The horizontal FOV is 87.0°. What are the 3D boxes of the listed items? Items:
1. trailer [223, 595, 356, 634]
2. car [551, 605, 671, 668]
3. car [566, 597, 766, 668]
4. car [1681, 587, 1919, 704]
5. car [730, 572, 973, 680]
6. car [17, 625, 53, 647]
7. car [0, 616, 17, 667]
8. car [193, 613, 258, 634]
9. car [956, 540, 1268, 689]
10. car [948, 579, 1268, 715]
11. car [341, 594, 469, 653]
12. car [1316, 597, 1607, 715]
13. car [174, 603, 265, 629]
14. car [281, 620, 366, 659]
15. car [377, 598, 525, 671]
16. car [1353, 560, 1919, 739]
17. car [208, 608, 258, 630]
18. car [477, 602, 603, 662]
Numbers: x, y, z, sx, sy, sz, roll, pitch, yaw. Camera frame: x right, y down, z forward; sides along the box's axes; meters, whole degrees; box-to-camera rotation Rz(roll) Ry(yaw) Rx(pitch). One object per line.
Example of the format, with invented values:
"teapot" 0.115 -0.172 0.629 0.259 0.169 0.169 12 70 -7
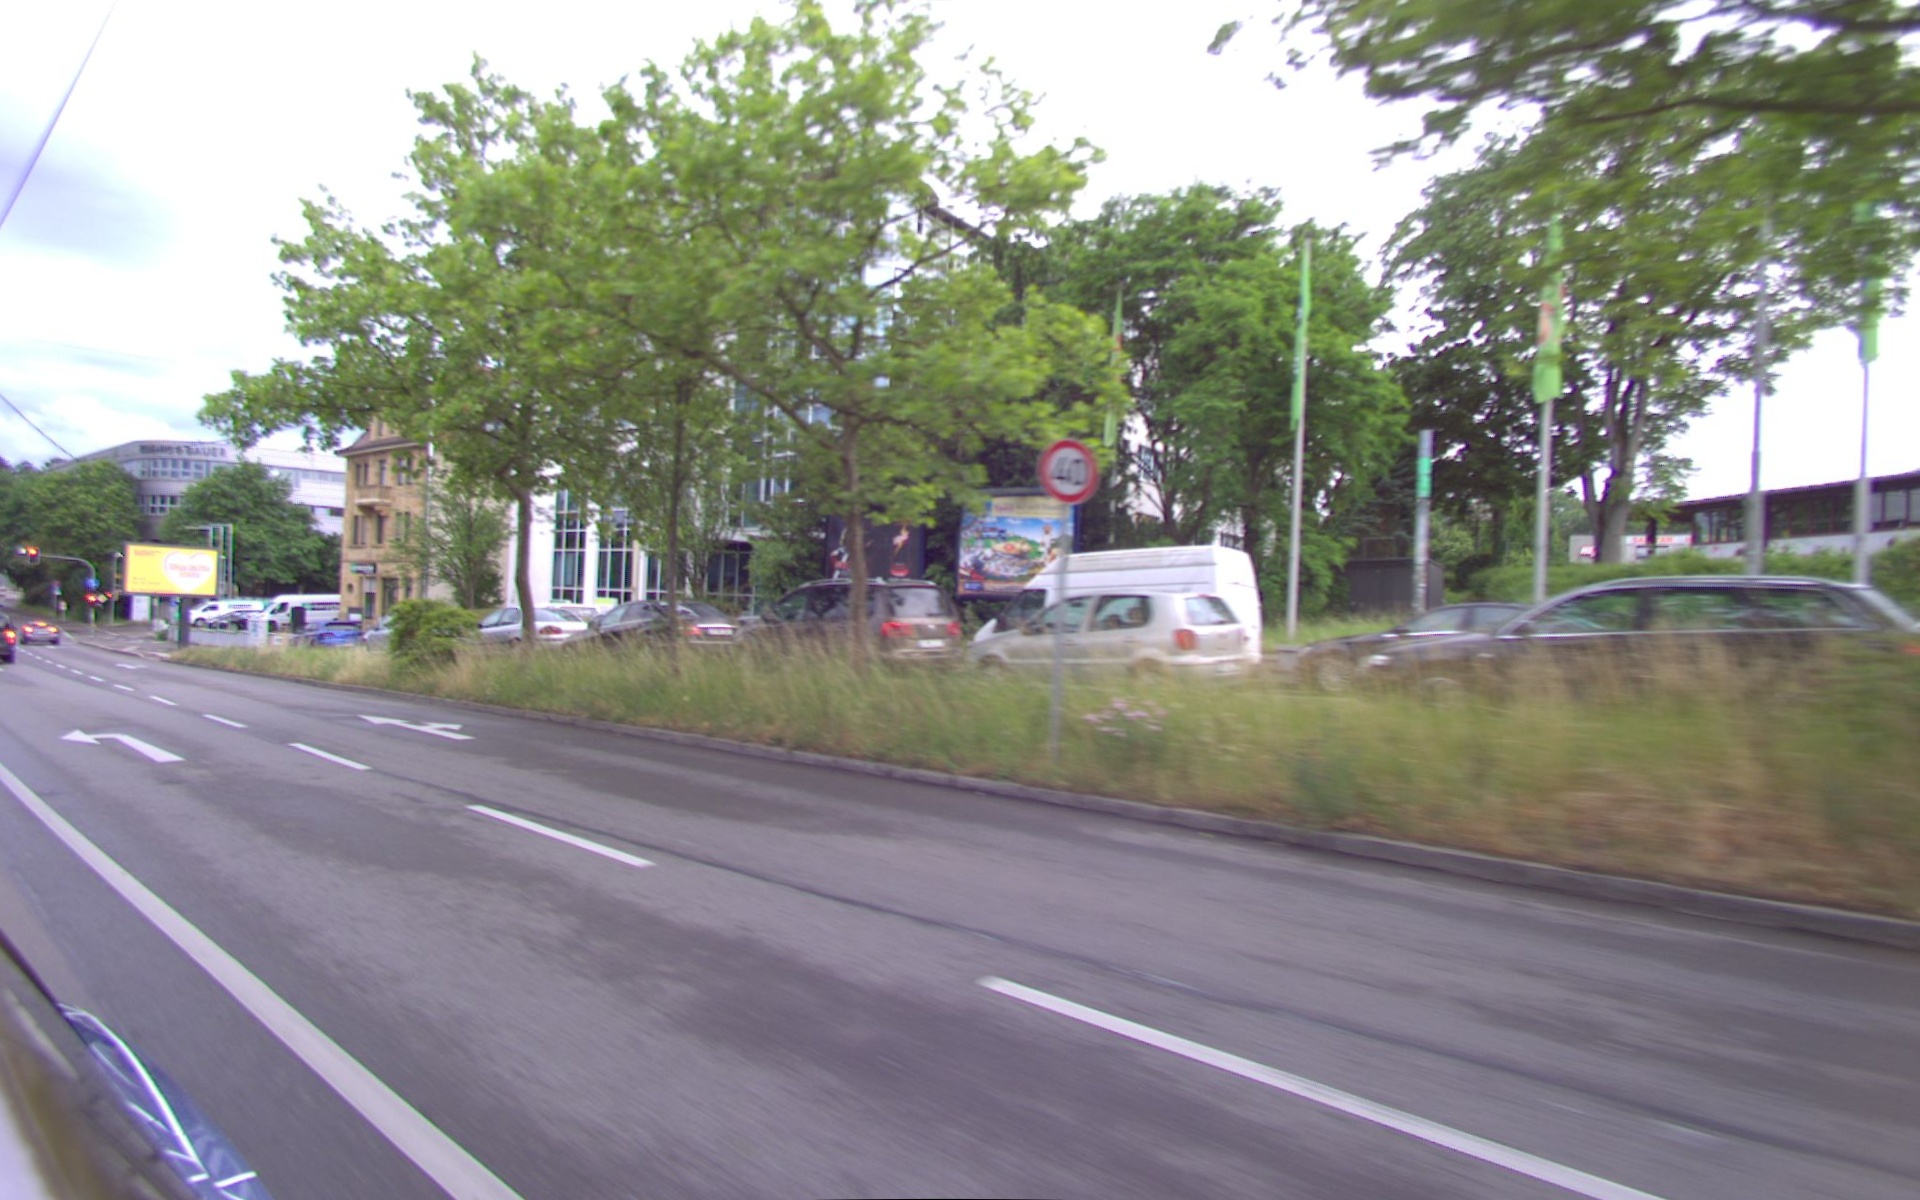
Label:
"trailer" -45.046 1.015 68.164 2.394 2.446 7.023 1 -1 41
"car" -10.137 1.095 29.300 3.778 1.709 1.576 -2 -4 40
"car" -5.681 0.623 19.313 4.217 1.214 1.679 -2 -3 42
"car" 11.532 0.567 12.418 4.276 1.328 1.387 2 -1 40
"car" -1.734 0.348 15.607 3.643 1.463 1.636 2 -1 41
"car" -57.549 2.253 62.934 2.452 1.232 1.362 1 -1 41
"car" -37.882 1.554 38.877 5.041 1.881 1.993 -1 -3 42
"car" -53.382 1.657 73.605 1.742 1.379 3.573 1 1 42
"car" 2.724 0.365 19.195 5.647 2.462 1.944 -2 -4 38
"car" 1.708 0.489 12.391 3.705 1.405 1.346 2 -1 41
"car" -15.243 0.705 27.707 4.441 1.489 1.629 -3 -4 41
"car" 7.520 0.768 15.263 3.664 1.479 1.826 2 -1 36
"car" -57.958 1.260 79.318 2.215 1.815 5.309 2 -1 34
"car" -27.027 1.700 42.918 4.668 1.546 1.671 -2 -4 40
"car" -11.731 0.822 23.247 3.988 1.552 1.576 -2 -4 40
"car" 6.124 0.351 9.143 4.544 1.303 1.521 2 -1 42
"car" -51.277 1.336 71.423 1.227 1.435 2.649 1 1 42
"car" -13.356 1.056 32.086 4.580 1.759 1.753 -2 -4 40
